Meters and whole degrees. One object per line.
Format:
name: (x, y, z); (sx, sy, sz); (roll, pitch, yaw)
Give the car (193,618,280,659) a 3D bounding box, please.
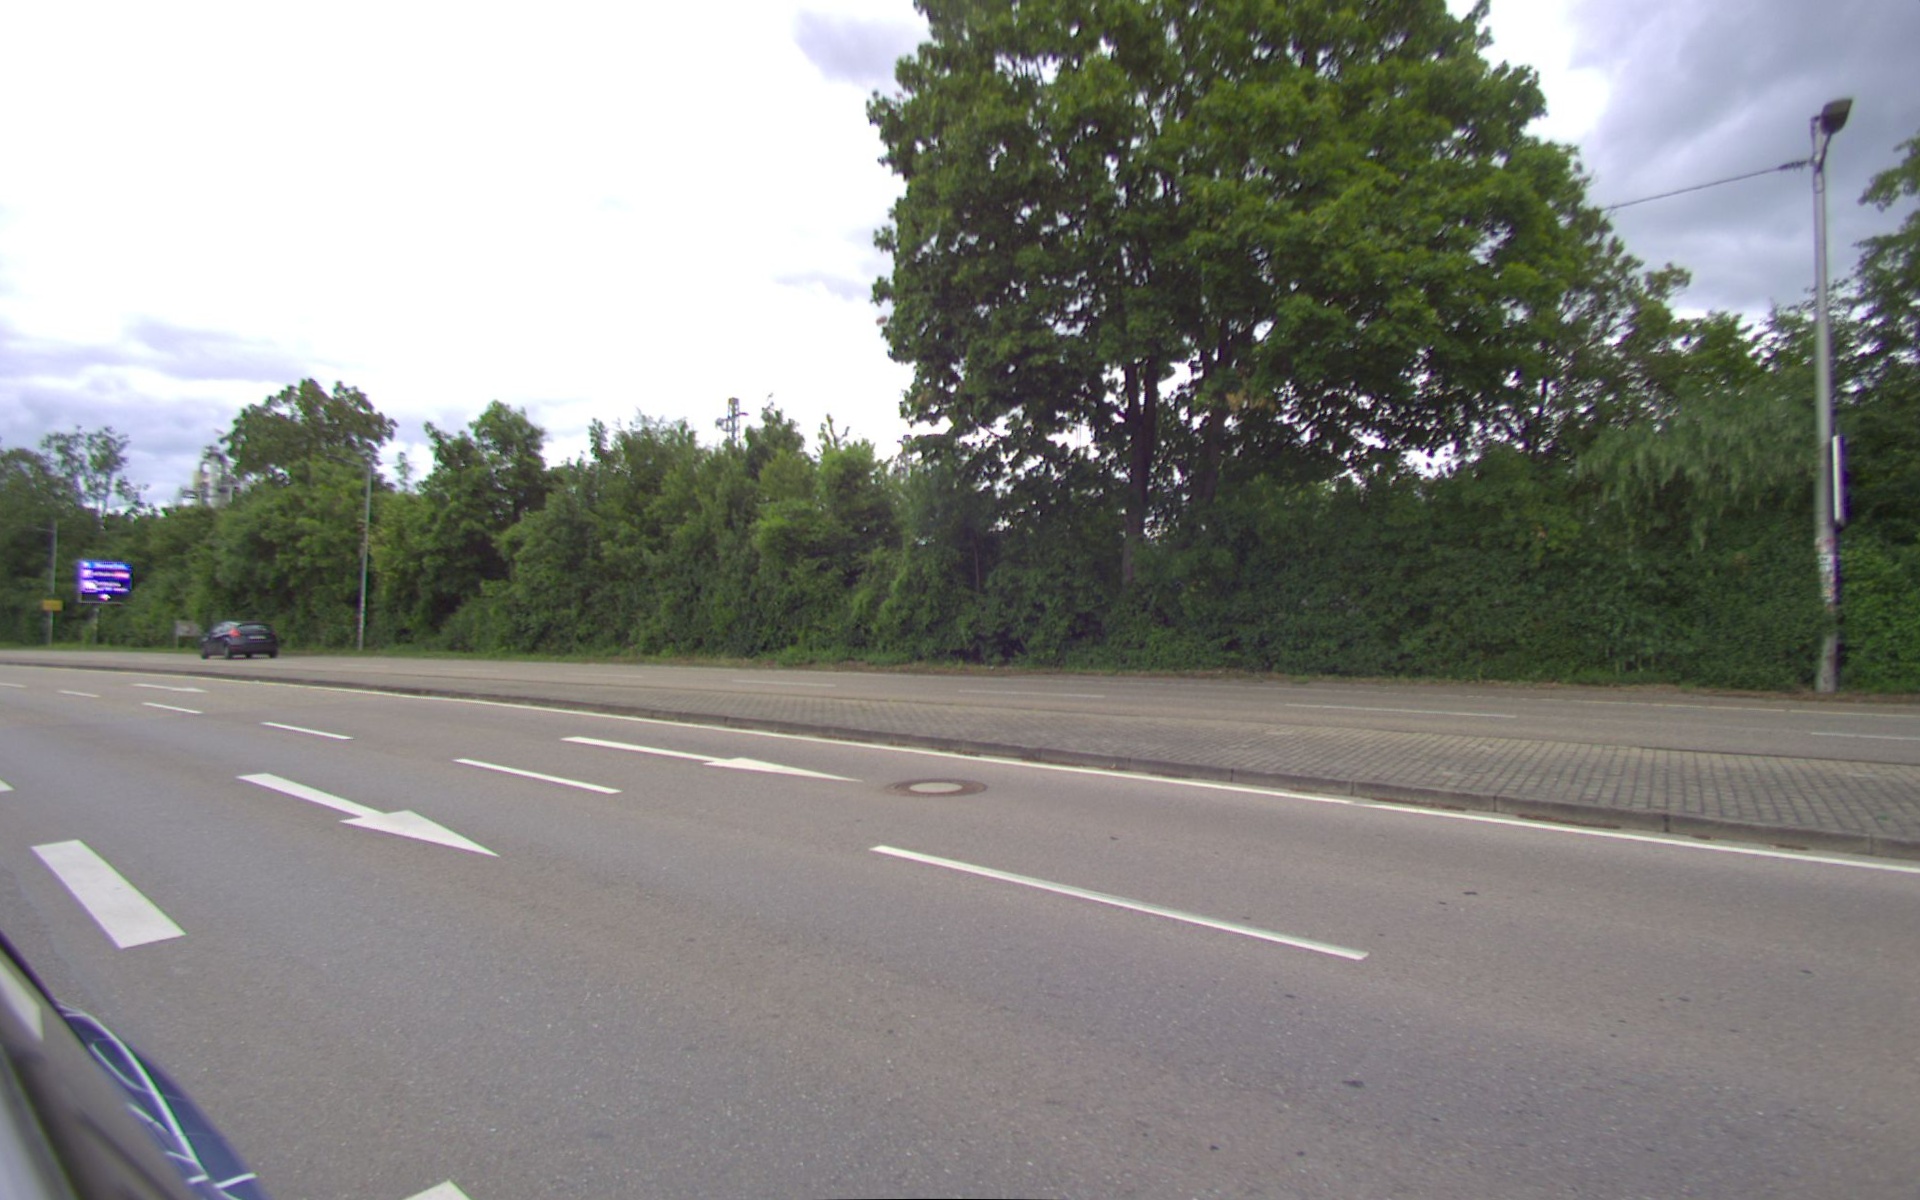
car: (-28.152, 1.444, 39.357); (3.994, 1.475, 1.683); (-1, 0, 38)
